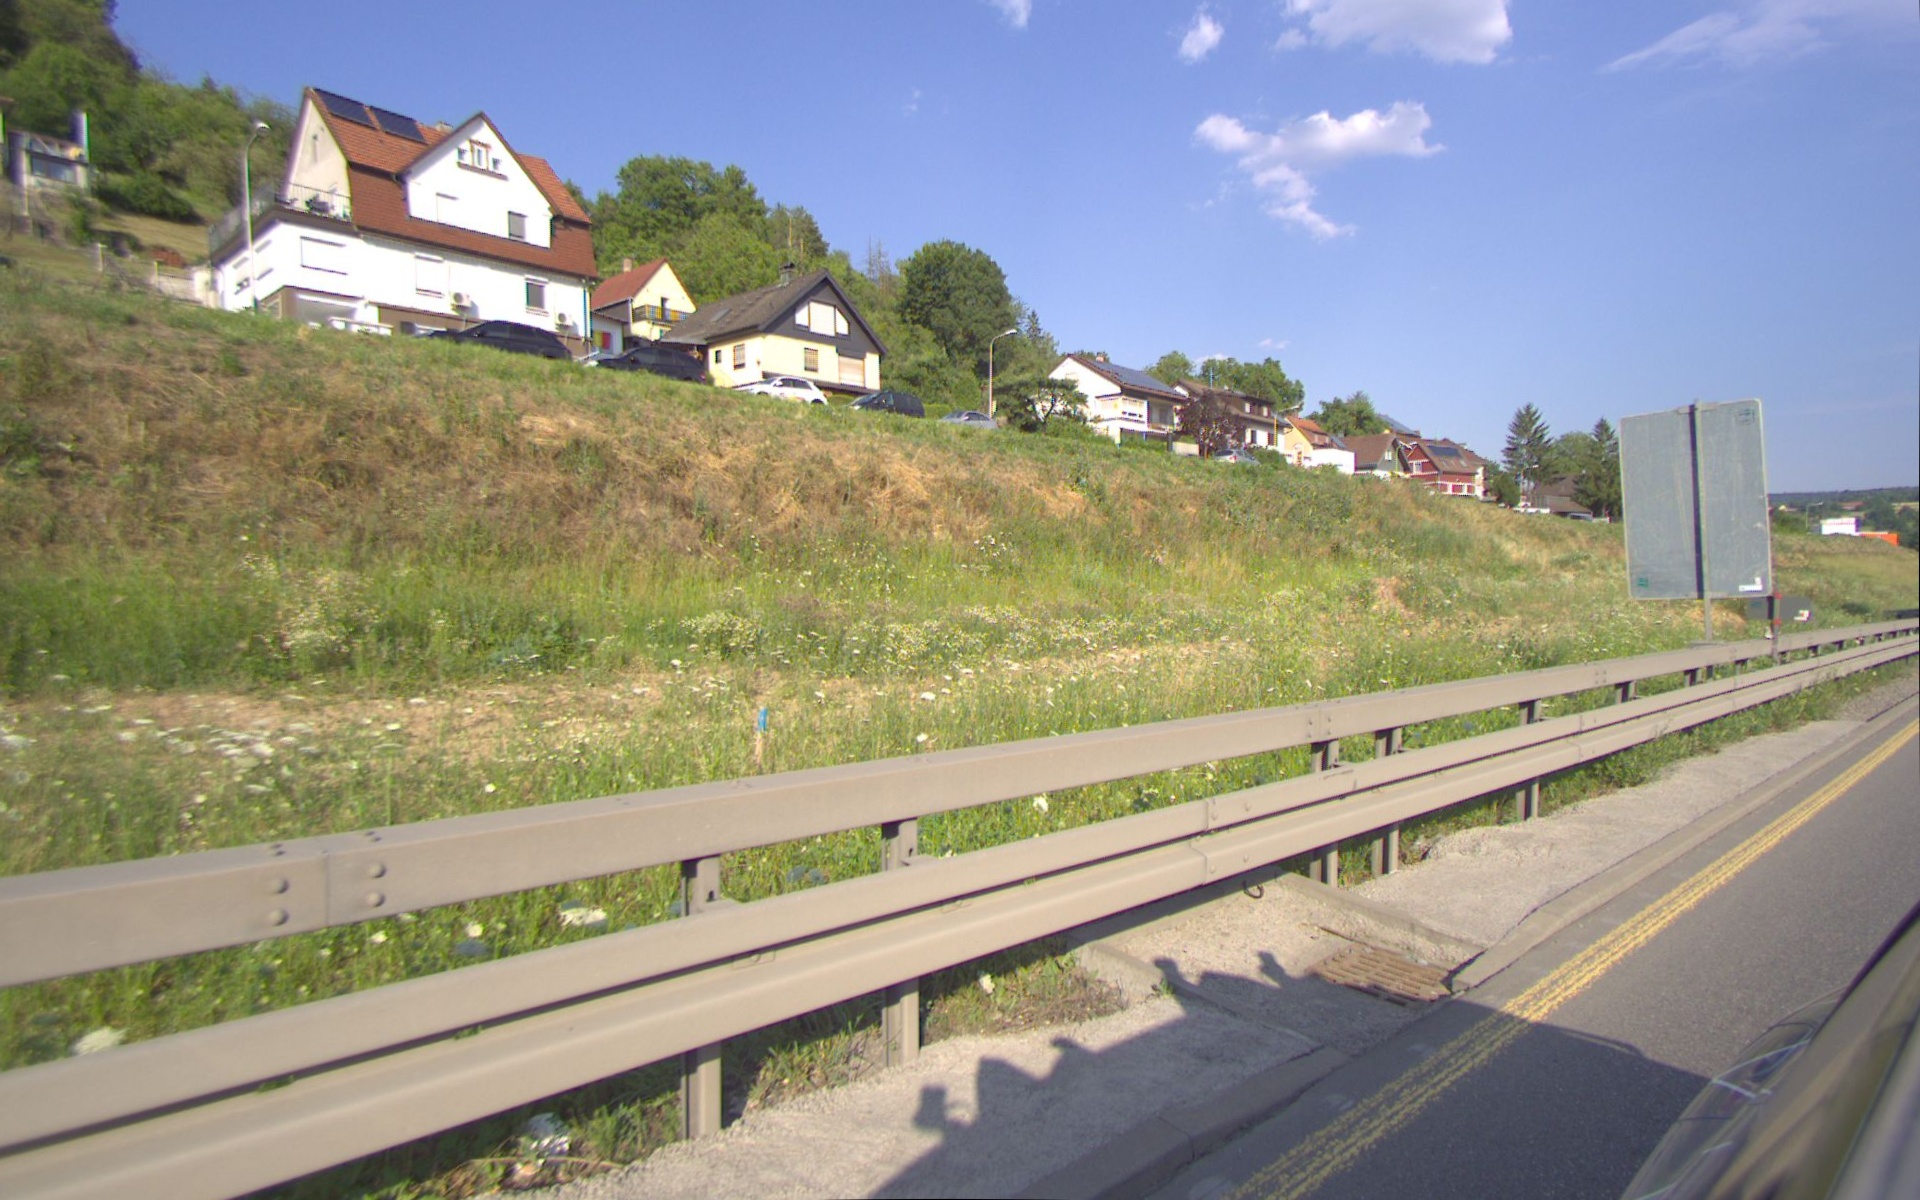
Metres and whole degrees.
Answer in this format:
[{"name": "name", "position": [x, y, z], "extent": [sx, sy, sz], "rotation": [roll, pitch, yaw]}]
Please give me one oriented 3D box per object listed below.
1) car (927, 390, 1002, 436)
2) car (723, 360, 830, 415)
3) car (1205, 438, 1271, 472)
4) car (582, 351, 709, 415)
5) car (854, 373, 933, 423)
[{"name": "car", "position": [0.237, -8.130, 44.200], "extent": [1.443, 1.389, 3.508], "rotation": [0, 0, 39]}, {"name": "car", "position": [-6.602, -7.649, 36.684], "extent": [1.342, 1.248, 3.843], "rotation": [0, 0, 41]}, {"name": "car", "position": [16.654, -8.623, 60.527], "extent": [3.930, 1.460, 1.997], "rotation": [0, 0, -41]}, {"name": "car", "position": [-10.038, -6.923, 32.546], "extent": [1.340, 1.248, 3.848], "rotation": [0, 0, 37]}, {"name": "car", "position": [-2.634, -8.050, 40.532], "extent": [1.340, 1.340, 3.299], "rotation": [0, 0, 37]}]
